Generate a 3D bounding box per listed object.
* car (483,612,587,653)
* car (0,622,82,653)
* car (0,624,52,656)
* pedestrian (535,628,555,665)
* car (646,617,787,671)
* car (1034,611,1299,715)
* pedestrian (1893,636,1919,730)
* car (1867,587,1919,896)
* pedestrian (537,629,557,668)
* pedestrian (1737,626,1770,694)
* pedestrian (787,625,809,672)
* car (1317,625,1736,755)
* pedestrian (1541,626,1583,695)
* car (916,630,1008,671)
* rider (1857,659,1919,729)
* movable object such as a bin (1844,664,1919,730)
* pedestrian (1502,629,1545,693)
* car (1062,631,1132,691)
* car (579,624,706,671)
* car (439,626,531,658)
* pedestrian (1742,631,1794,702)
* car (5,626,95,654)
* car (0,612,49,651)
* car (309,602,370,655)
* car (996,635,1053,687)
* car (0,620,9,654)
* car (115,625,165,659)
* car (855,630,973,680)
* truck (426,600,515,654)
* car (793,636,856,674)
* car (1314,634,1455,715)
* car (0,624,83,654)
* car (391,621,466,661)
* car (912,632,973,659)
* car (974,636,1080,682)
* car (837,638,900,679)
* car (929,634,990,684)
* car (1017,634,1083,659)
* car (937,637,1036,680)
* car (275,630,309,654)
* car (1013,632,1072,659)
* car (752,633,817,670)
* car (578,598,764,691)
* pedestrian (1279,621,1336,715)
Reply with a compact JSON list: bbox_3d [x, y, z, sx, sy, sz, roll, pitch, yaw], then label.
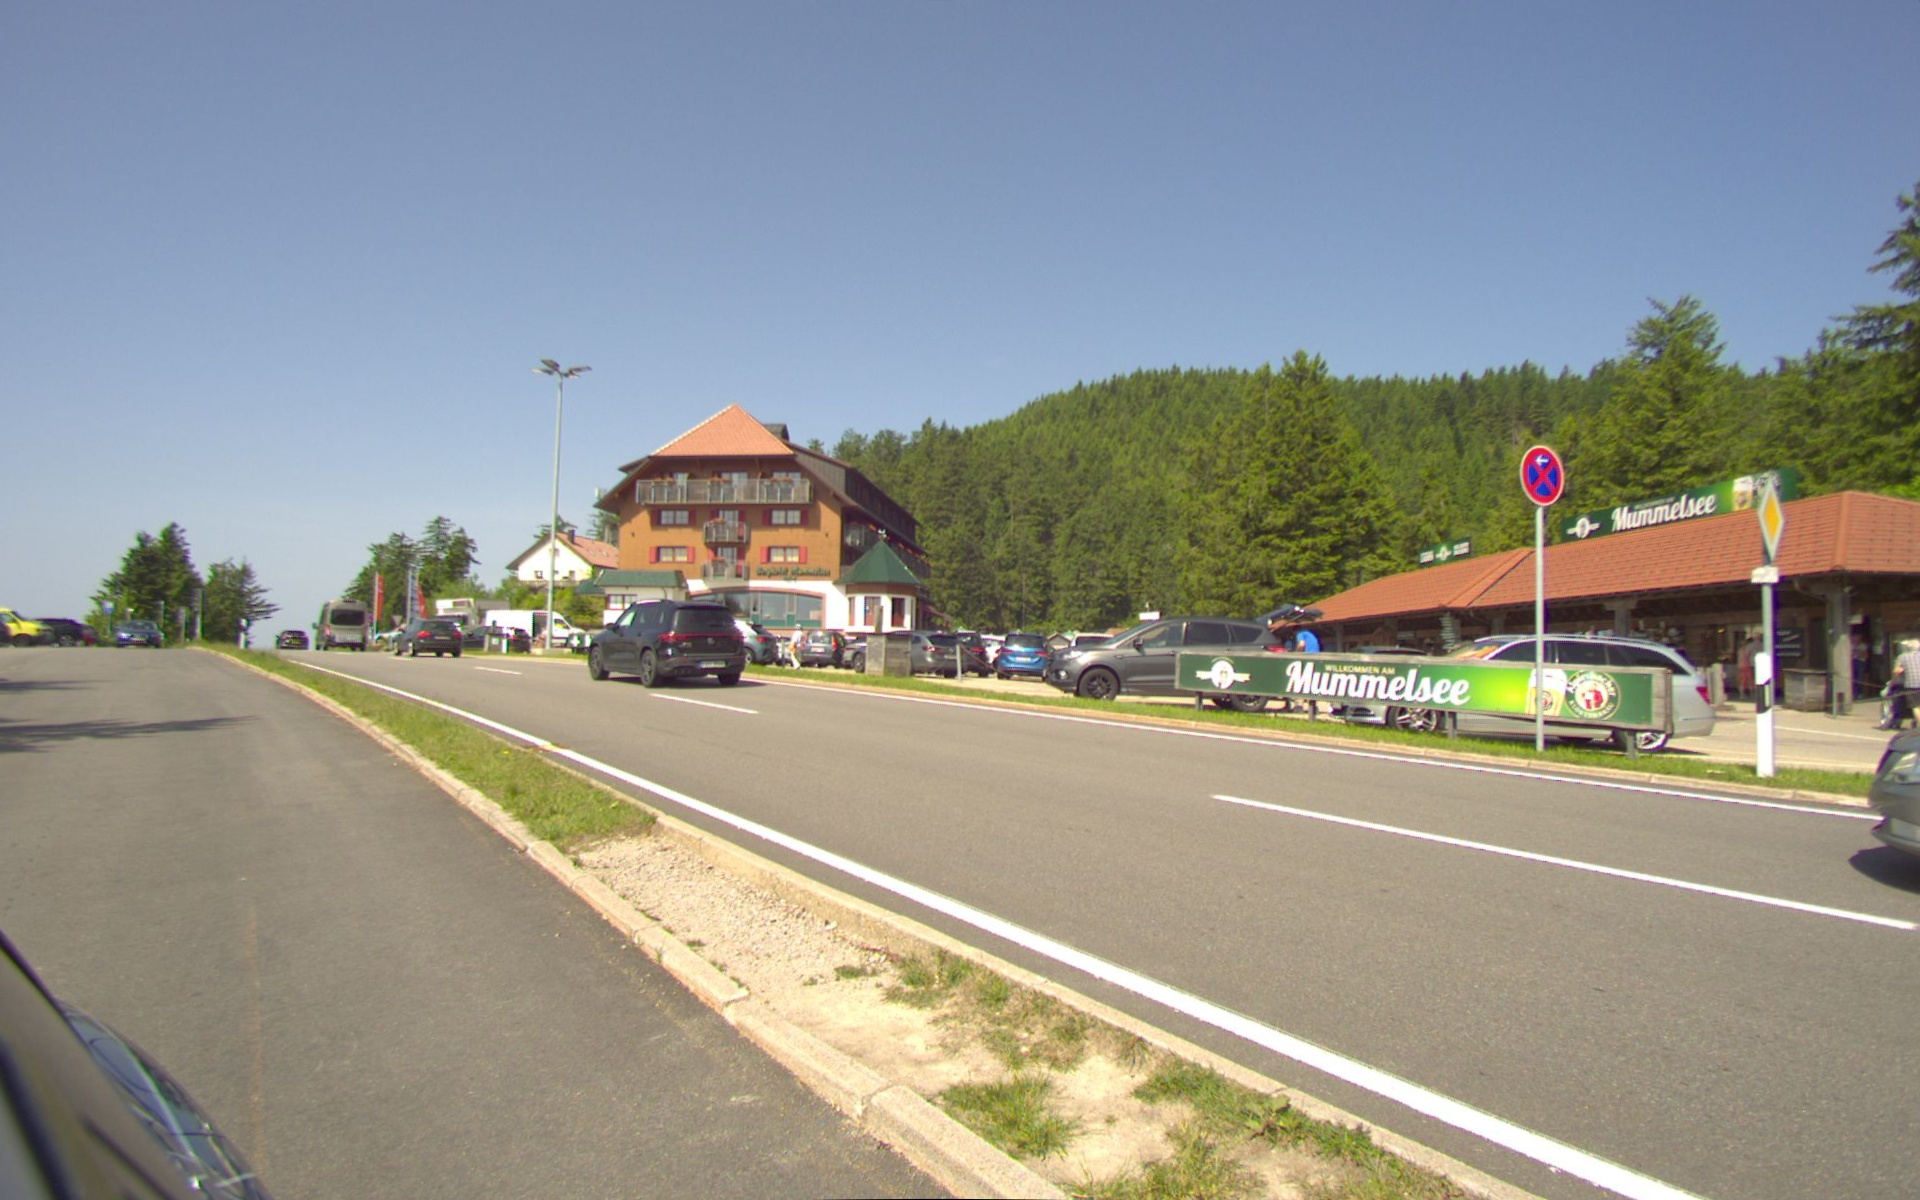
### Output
[{"bbox_3d":[-31.090,2.403,74.273,6.845,2.812,2.675,2,-2,-21],"label":"car"},{"bbox_3d":[-51.692,2.108,56.473,3.849,1.627,1.880,3,-3,-37],"label":"car"},{"bbox_3d":[-50.782,2.107,53.543,3.849,1.627,1.880,3,-3,-37],"label":"car"},{"bbox_3d":[-22.573,2.523,55.049,0.706,2.029,0.804,2,-2,-41],"label":"pedestrian"},{"bbox_3d":[-8.091,1.468,33.825,4.215,1.641,1.822,2,-2,4],"label":"car"},{"bbox_3d":[3.665,1.127,18.552,4.491,1.668,1.721,2,-2,2],"label":"car"},{"bbox_3d":[17.934,1.530,18.600,0.831,1.712,0.800,1,-2,14],"label":"pedestrian"},{"bbox_3d":[6.613,0.656,3.608,1.854,1.485,4.726,1,-1,-35],"label":"car"},{"bbox_3d":[-21.647,2.524,53.011,0.706,2.029,0.804,2,-2,-41],"label":"pedestrian"},{"bbox_3d":[20.821,1.573,26.556,0.662,1.750,0.556,3,-3,-42],"label":"pedestrian"},{"bbox_3d":[-5.780,1.730,36.041,0.734,1.637,0.684,2,-2,-10],"label":"pedestrian"},{"bbox_3d":[7.222,1.127,13.279,4.445,1.441,1.719,2,-2,5],"label":"car"},{"bbox_3d":[18.204,1.807,30.621,0.714,2.029,0.926,1,-2,4],"label":"pedestrian"},{"bbox_3d":[0.123,2.262,45.565,4.041,1.641,1.822,2,-2,4],"label":"car"},{"bbox_3d":[18.104,1.810,19.533,0.831,1.284,0.905,1,-2,14],"label":"rider"},{"bbox_3d":[18.100,1.868,19.624,0.974,1.198,1.211,1,-2,14],"label":"movable object such as a bin"},{"bbox_3d":[18.386,1.975,33.053,0.844,2.029,0.965,1,-2,-1],"label":"pedestrian"},{"bbox_3d":[4.257,1.886,31.978,1.896,1.729,4.089,2,-2,4],"label":"car"},{"bbox_3d":[-12.126,1.800,38.824,4.215,1.641,1.822,2,-2,4],"label":"car"},{"bbox_3d":[-25.472,2.252,54.326,4.037,1.539,1.824,2,-2,0],"label":"car"},{"bbox_3d":[20.482,1.661,25.665,0.742,1.750,0.800,1,-2,14],"label":"pedestrian"},{"bbox_3d":[-55.573,2.440,61.914,3.849,1.627,1.880,3,-3,-37],"label":"car"},{"bbox_3d":[-48.933,1.560,50.906,4.387,1.940,1.880,3,-3,-37],"label":"car"},{"bbox_3d":[-34.174,1.560,55.673,1.985,2.772,5.928,3,-3,-39],"label":"car"},{"bbox_3d":[2.285,2.096,35.209,1.802,1.641,4.087,1,-2,6],"label":"car"},{"bbox_3d":[-48.035,1.720,48.117,3.849,1.627,1.880,3,-3,-37],"label":"car"},{"bbox_3d":[-41.561,2.127,51.309,1.846,1.627,3.920,3,-3,-39],"label":"car"},{"bbox_3d":[-1.511,1.713,31.893,1.694,1.441,4.008,3,-3,-38],"label":"car"},{"bbox_3d":[-37.753,2.134,78.413,2.842,3.850,9.020,-1,-2,-2],"label":"truck"},{"bbox_3d":[-5.797,2.348,43.717,1.802,1.524,4.087,1,-2,6],"label":"car"},{"bbox_3d":[10.145,1.733,24.512,1.896,1.729,4.089,2,-2,4],"label":"car"},{"bbox_3d":[-53.350,2.248,58.493,3.849,1.627,1.880,3,-3,-37],"label":"car"},{"bbox_3d":[-20.620,1.552,39.182,1.684,1.449,4.457,3,-3,-39],"label":"car"},{"bbox_3d":[-1.180,3.181,70.646,4.043,1.729,1.917,2,-2,5],"label":"car"},{"bbox_3d":[2.633,2.325,39.913,4.041,1.641,1.822,2,-2,4],"label":"car"},{"bbox_3d":[-3.729,2.383,41.810,1.802,1.524,4.087,1,-2,6],"label":"car"},{"bbox_3d":[0.034,2.095,36.715,1.802,1.641,4.087,1,-2,6],"label":"car"},{"bbox_3d":[6.661,3.440,74.956,4.785,1.729,1.917,2,-2,5],"label":"car"},{"bbox_3d":[1.121,2.434,42.664,4.041,1.641,1.822,2,-2,4],"label":"car"},{"bbox_3d":[-50.750,3.192,76.856,1.694,1.695,4.138,3,-2,-39],"label":"car"},{"bbox_3d":[5.777,3.160,70.958,4.043,1.729,1.917,2,-2,5],"label":"car"},{"bbox_3d":[-7.857,2.292,45.609,1.802,1.524,4.087,1,-2,6],"label":"car"},{"bbox_3d":[-5.908,0.857,20.309,1.968,1.660,4.576,3,-3,-38],"label":"car"},{"bbox_3d":[6.287,1.218,18.352,0.736,1.648,0.847,1,-2,1],"label":"pedestrian"}]
